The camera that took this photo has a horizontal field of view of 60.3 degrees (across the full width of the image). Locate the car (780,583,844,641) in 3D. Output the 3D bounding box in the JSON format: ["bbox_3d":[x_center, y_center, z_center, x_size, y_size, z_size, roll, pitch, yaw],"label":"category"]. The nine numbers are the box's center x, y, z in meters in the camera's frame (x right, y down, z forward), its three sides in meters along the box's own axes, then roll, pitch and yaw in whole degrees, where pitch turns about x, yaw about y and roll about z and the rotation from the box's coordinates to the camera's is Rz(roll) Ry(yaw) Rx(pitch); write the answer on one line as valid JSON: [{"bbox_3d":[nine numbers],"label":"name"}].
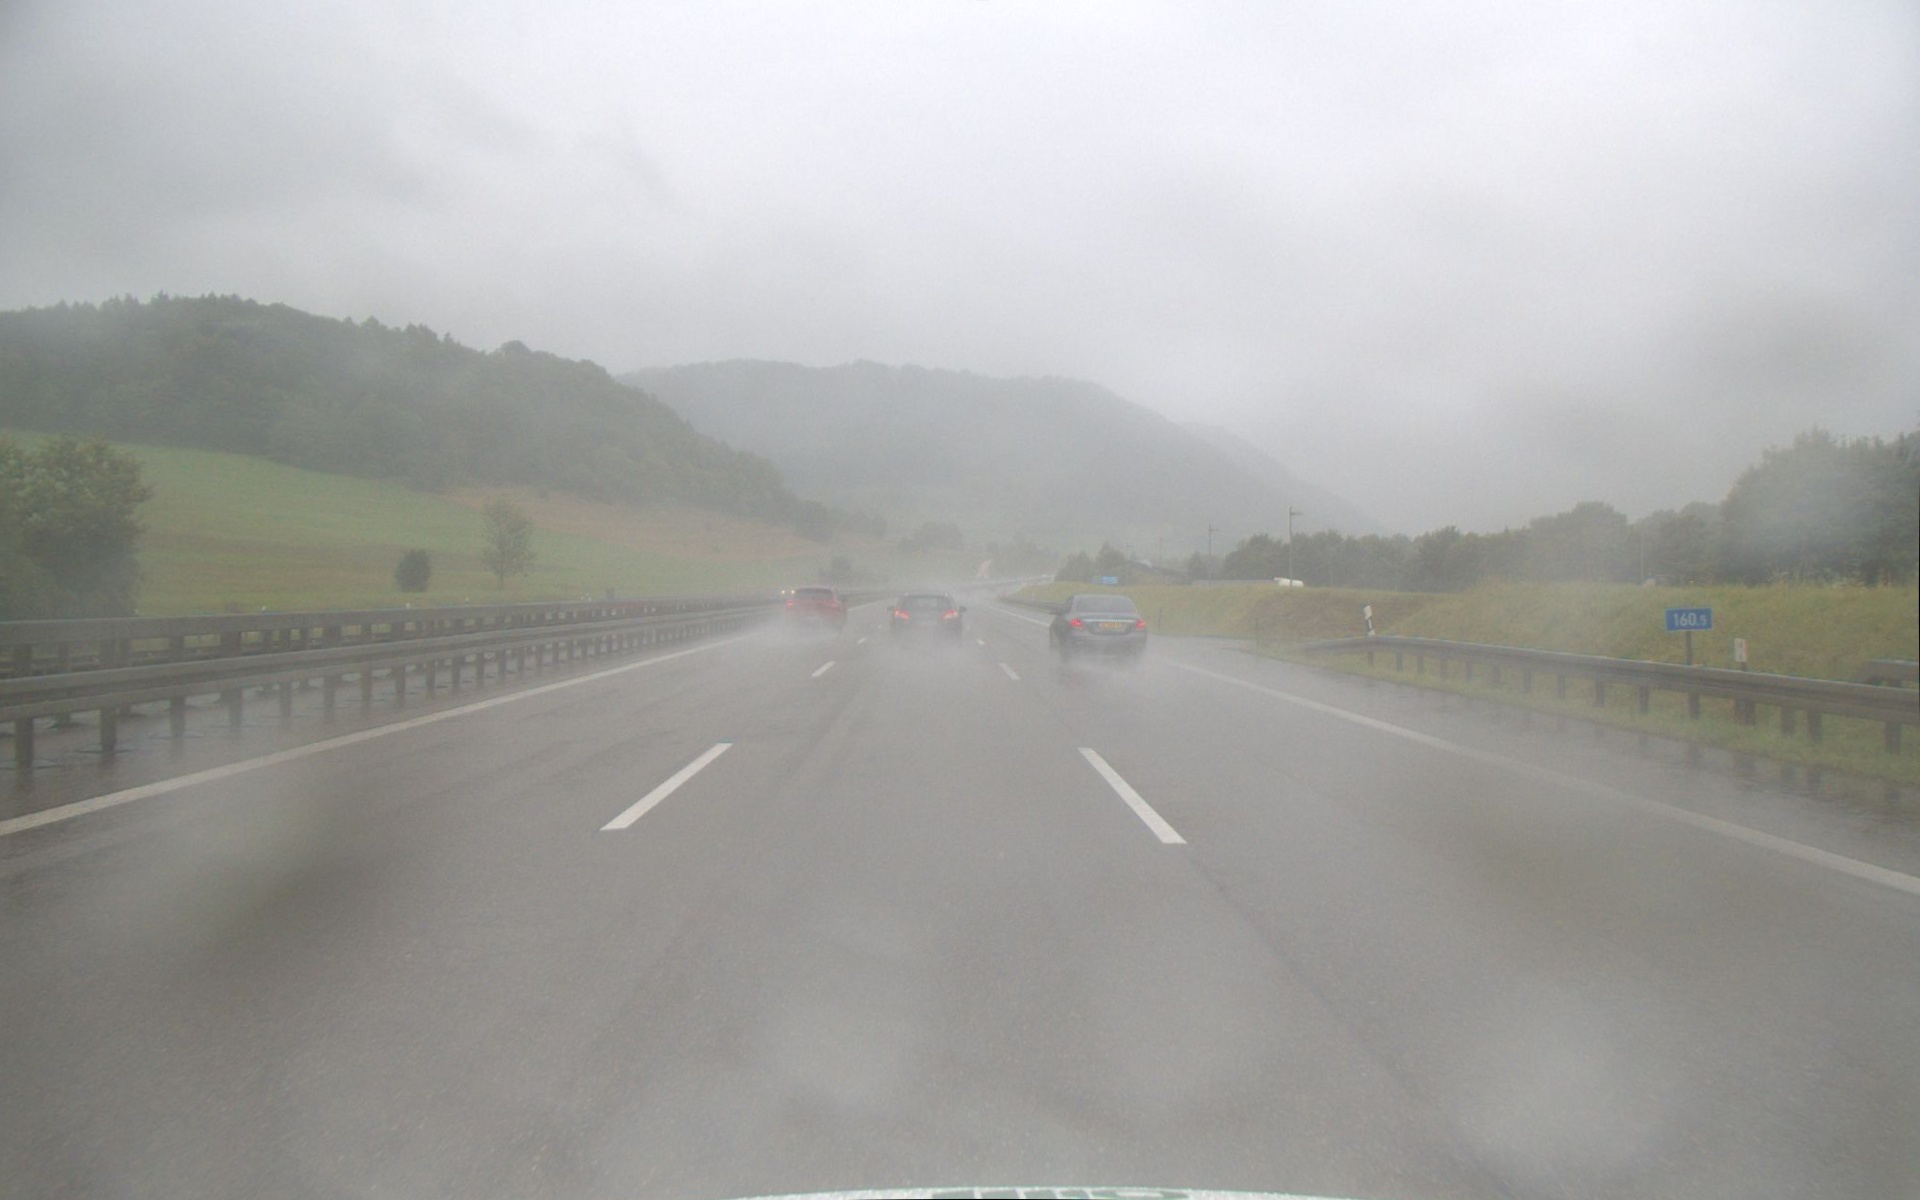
[{"bbox_3d":[-4.849,0.360,54.709,1.846,1.847,3.999,0,1,-2],"label":"car"}]

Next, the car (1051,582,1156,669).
[{"bbox_3d":[3.076,0.507,36.168,1.931,1.791,4.000,0,0,-1],"label":"car"}]

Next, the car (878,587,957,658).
[{"bbox_3d":[-1.021,0.519,40.927,1.822,1.617,4.000,1,0,-1],"label":"car"}]
